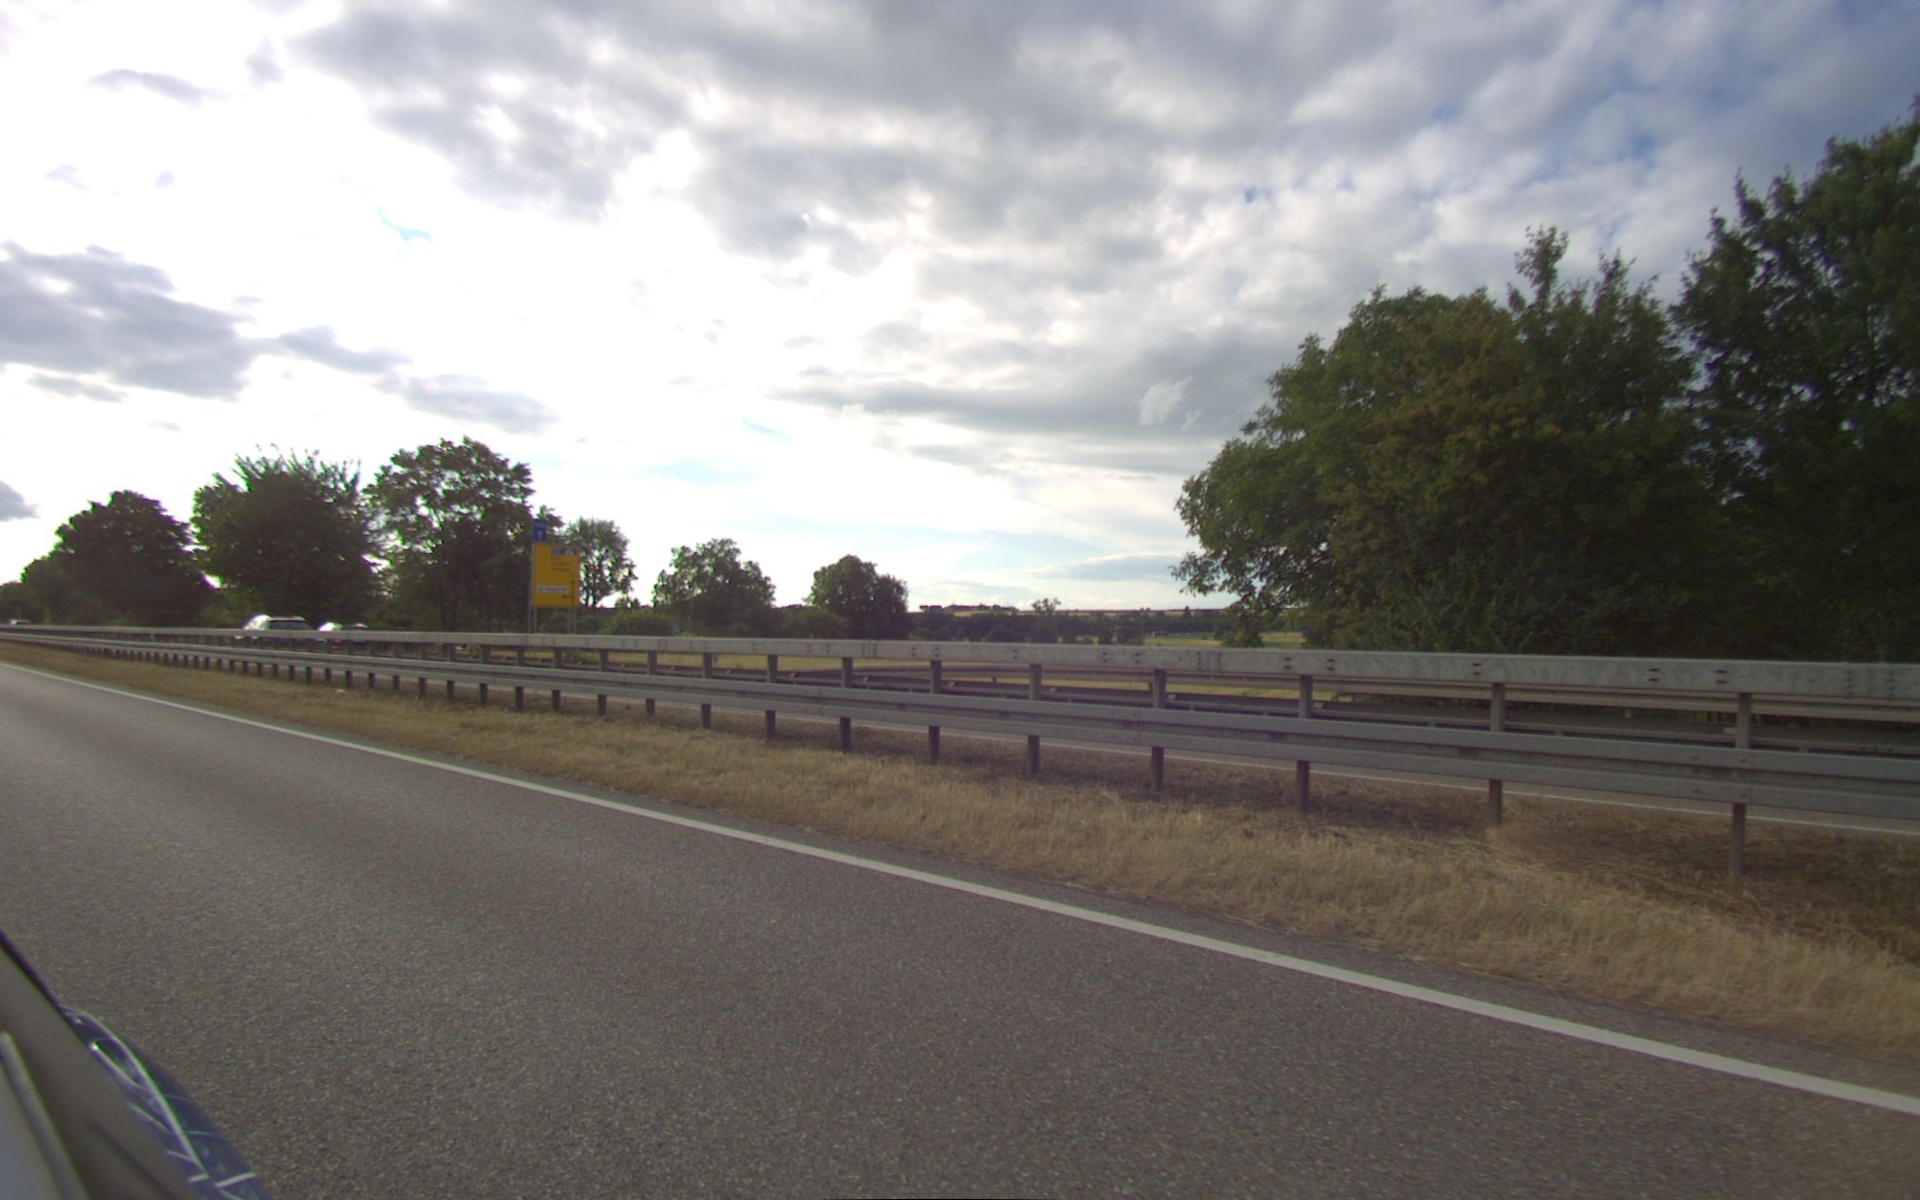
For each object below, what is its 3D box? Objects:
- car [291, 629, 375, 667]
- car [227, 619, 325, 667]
[{"bbox_3d":[-27.158,2.045,43.780,4.459,1.489,1.887,-1,-1,41],"label":"car"},{"bbox_3d":[-24.471,1.519,36.151,4.374,1.627,1.779,-1,-4,41],"label":"car"}]
